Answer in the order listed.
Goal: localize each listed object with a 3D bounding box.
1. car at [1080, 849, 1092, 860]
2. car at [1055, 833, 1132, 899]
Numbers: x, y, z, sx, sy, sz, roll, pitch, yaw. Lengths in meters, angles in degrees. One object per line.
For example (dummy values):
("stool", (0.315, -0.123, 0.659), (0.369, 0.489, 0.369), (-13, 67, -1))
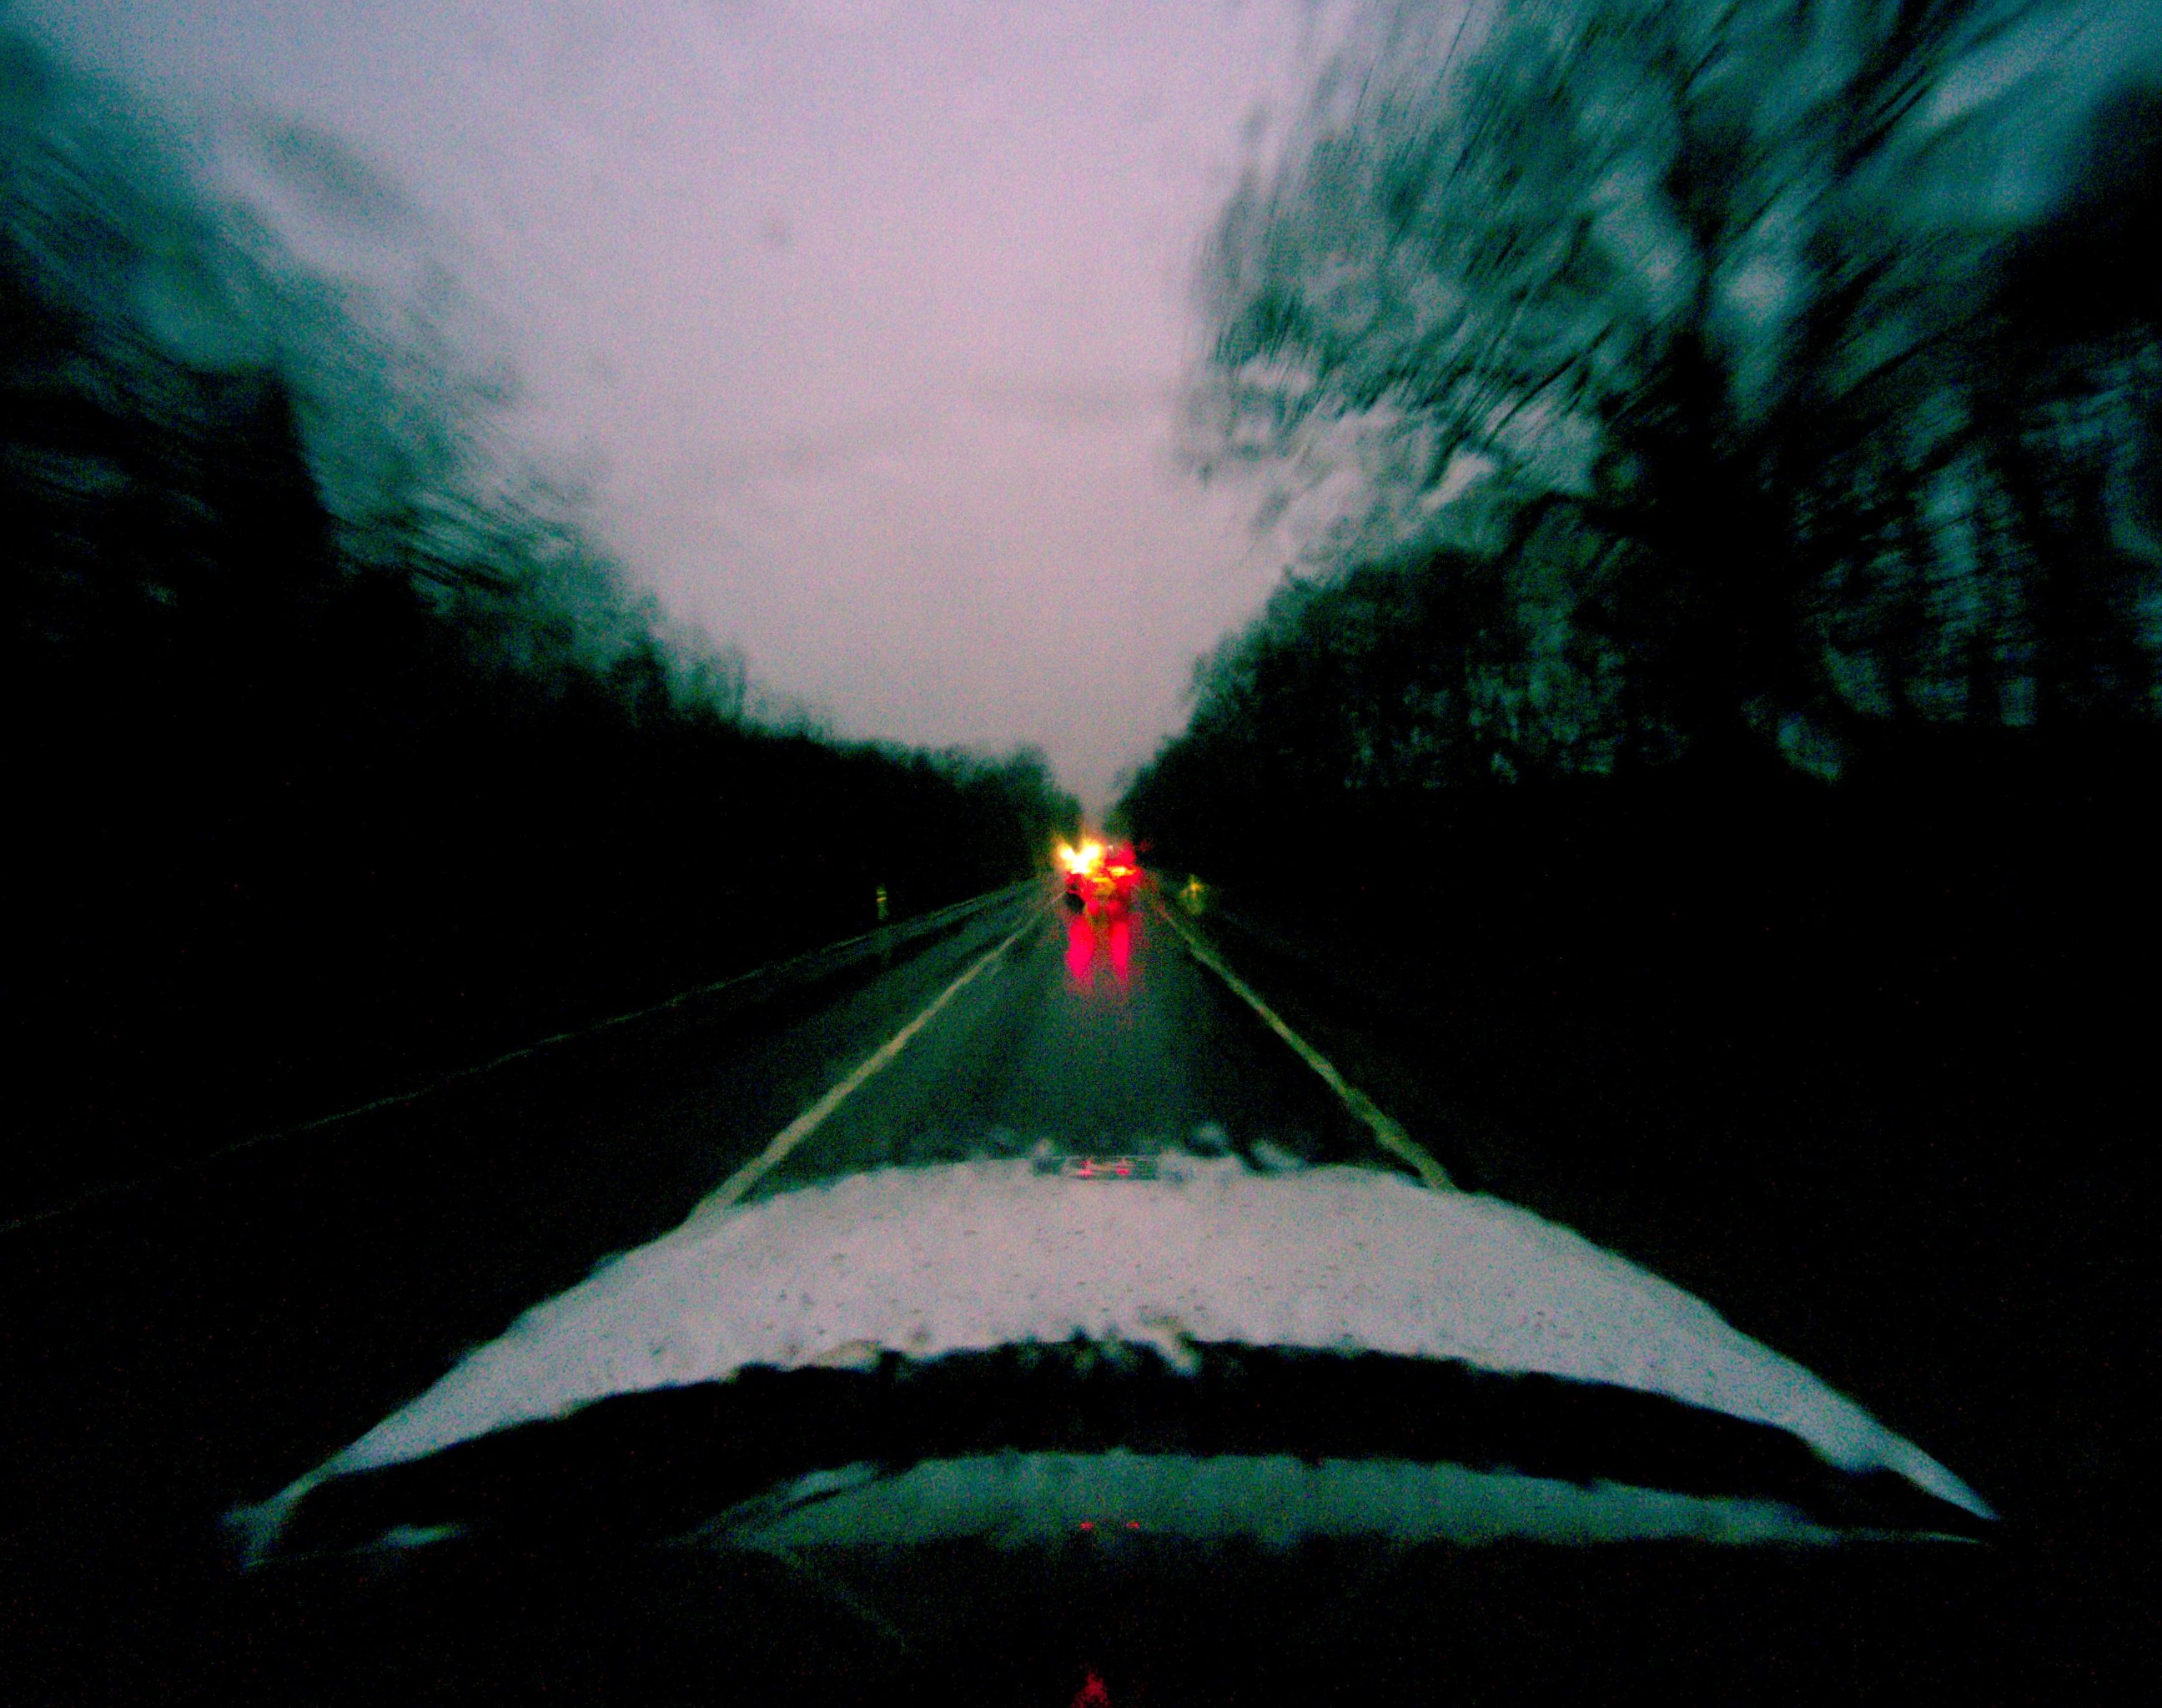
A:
("car", (0.810, 0.099, 127.419), (1.743, 1.552, 3.993), (-1, 0, 0))
("car", (0.407, 0.319, 25.857), (2.190, 1.877, 4.828), (0, 1, 1))
